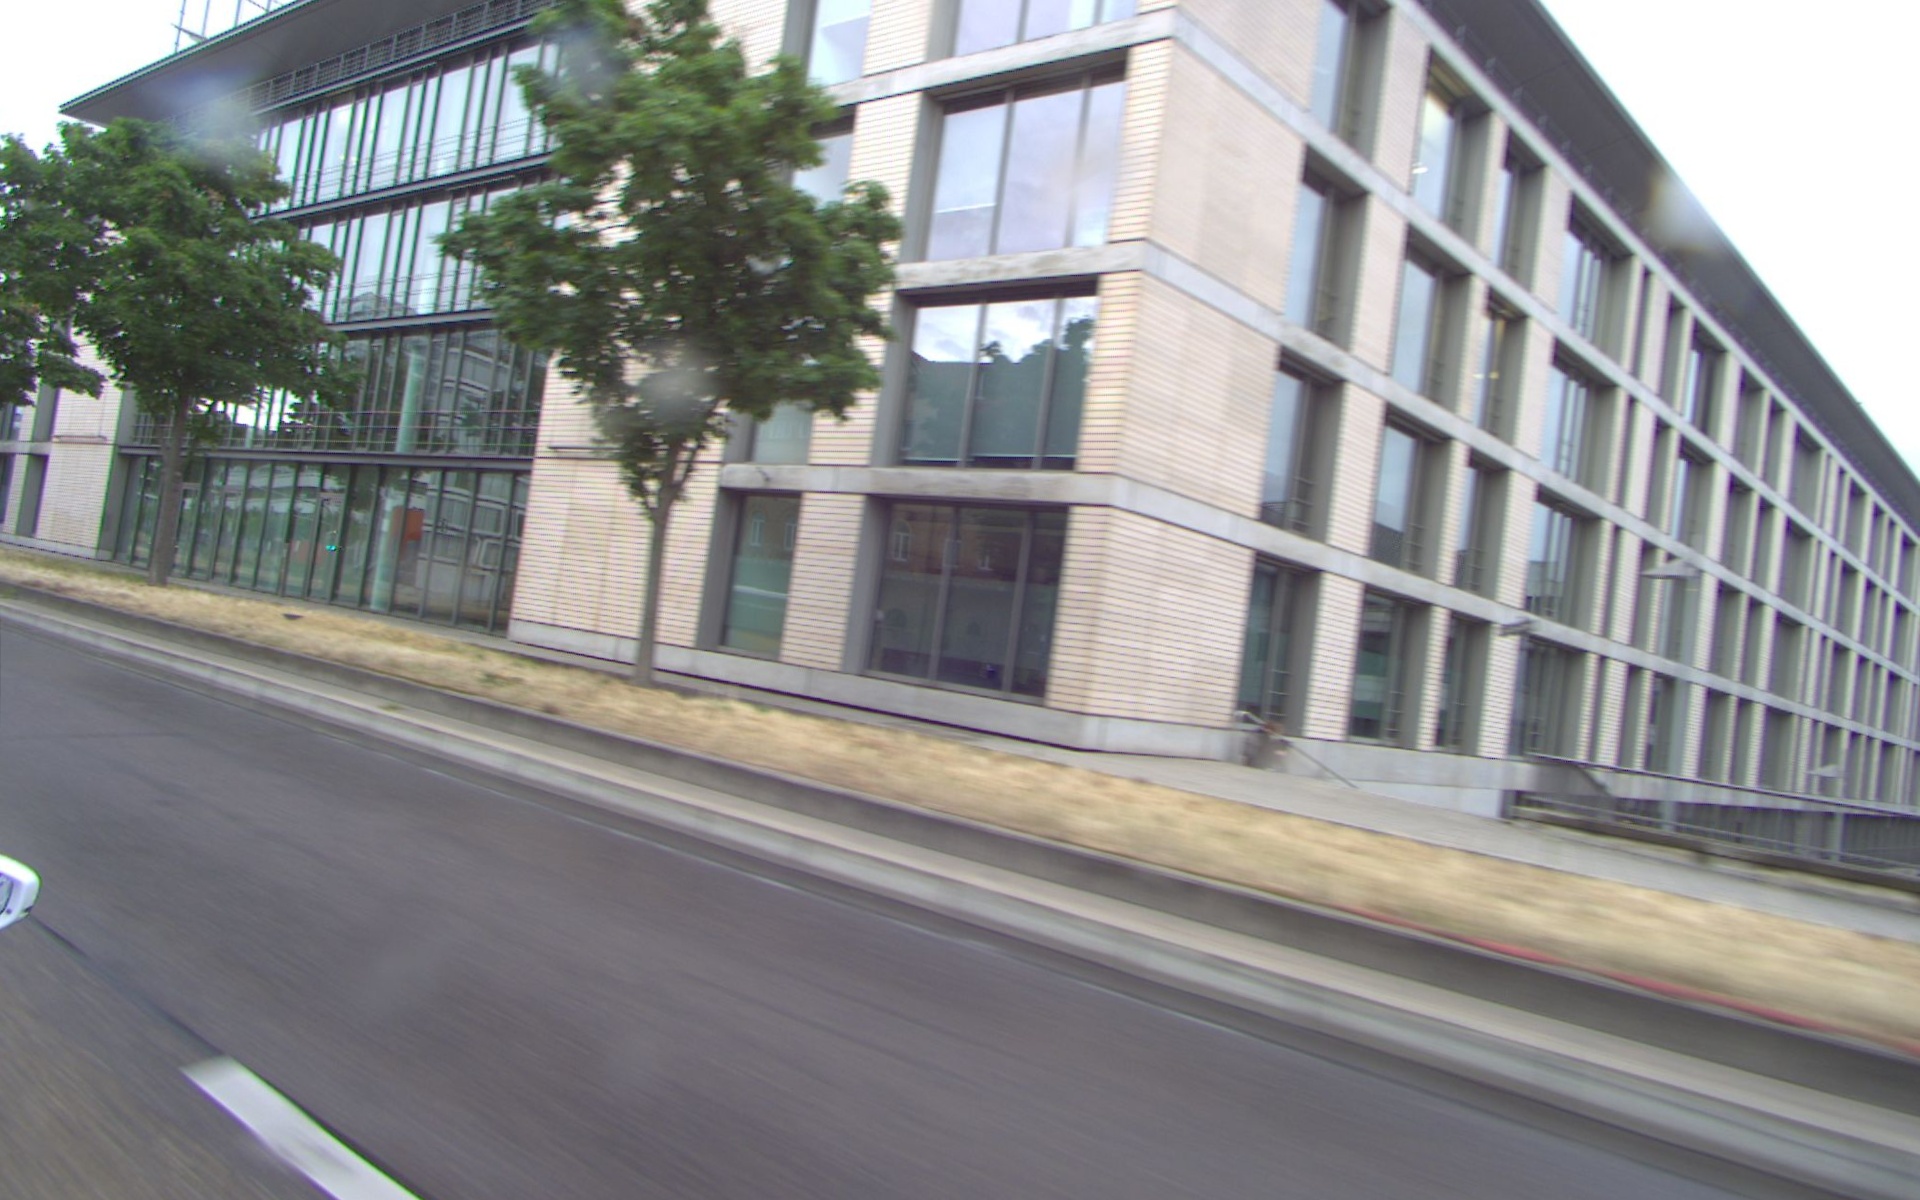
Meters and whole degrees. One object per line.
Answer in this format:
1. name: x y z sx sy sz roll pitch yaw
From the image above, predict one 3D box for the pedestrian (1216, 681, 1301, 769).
1. pedestrian: 5.202 2.178 17.532 0.872 1.355 0.958 8 -2 -41
